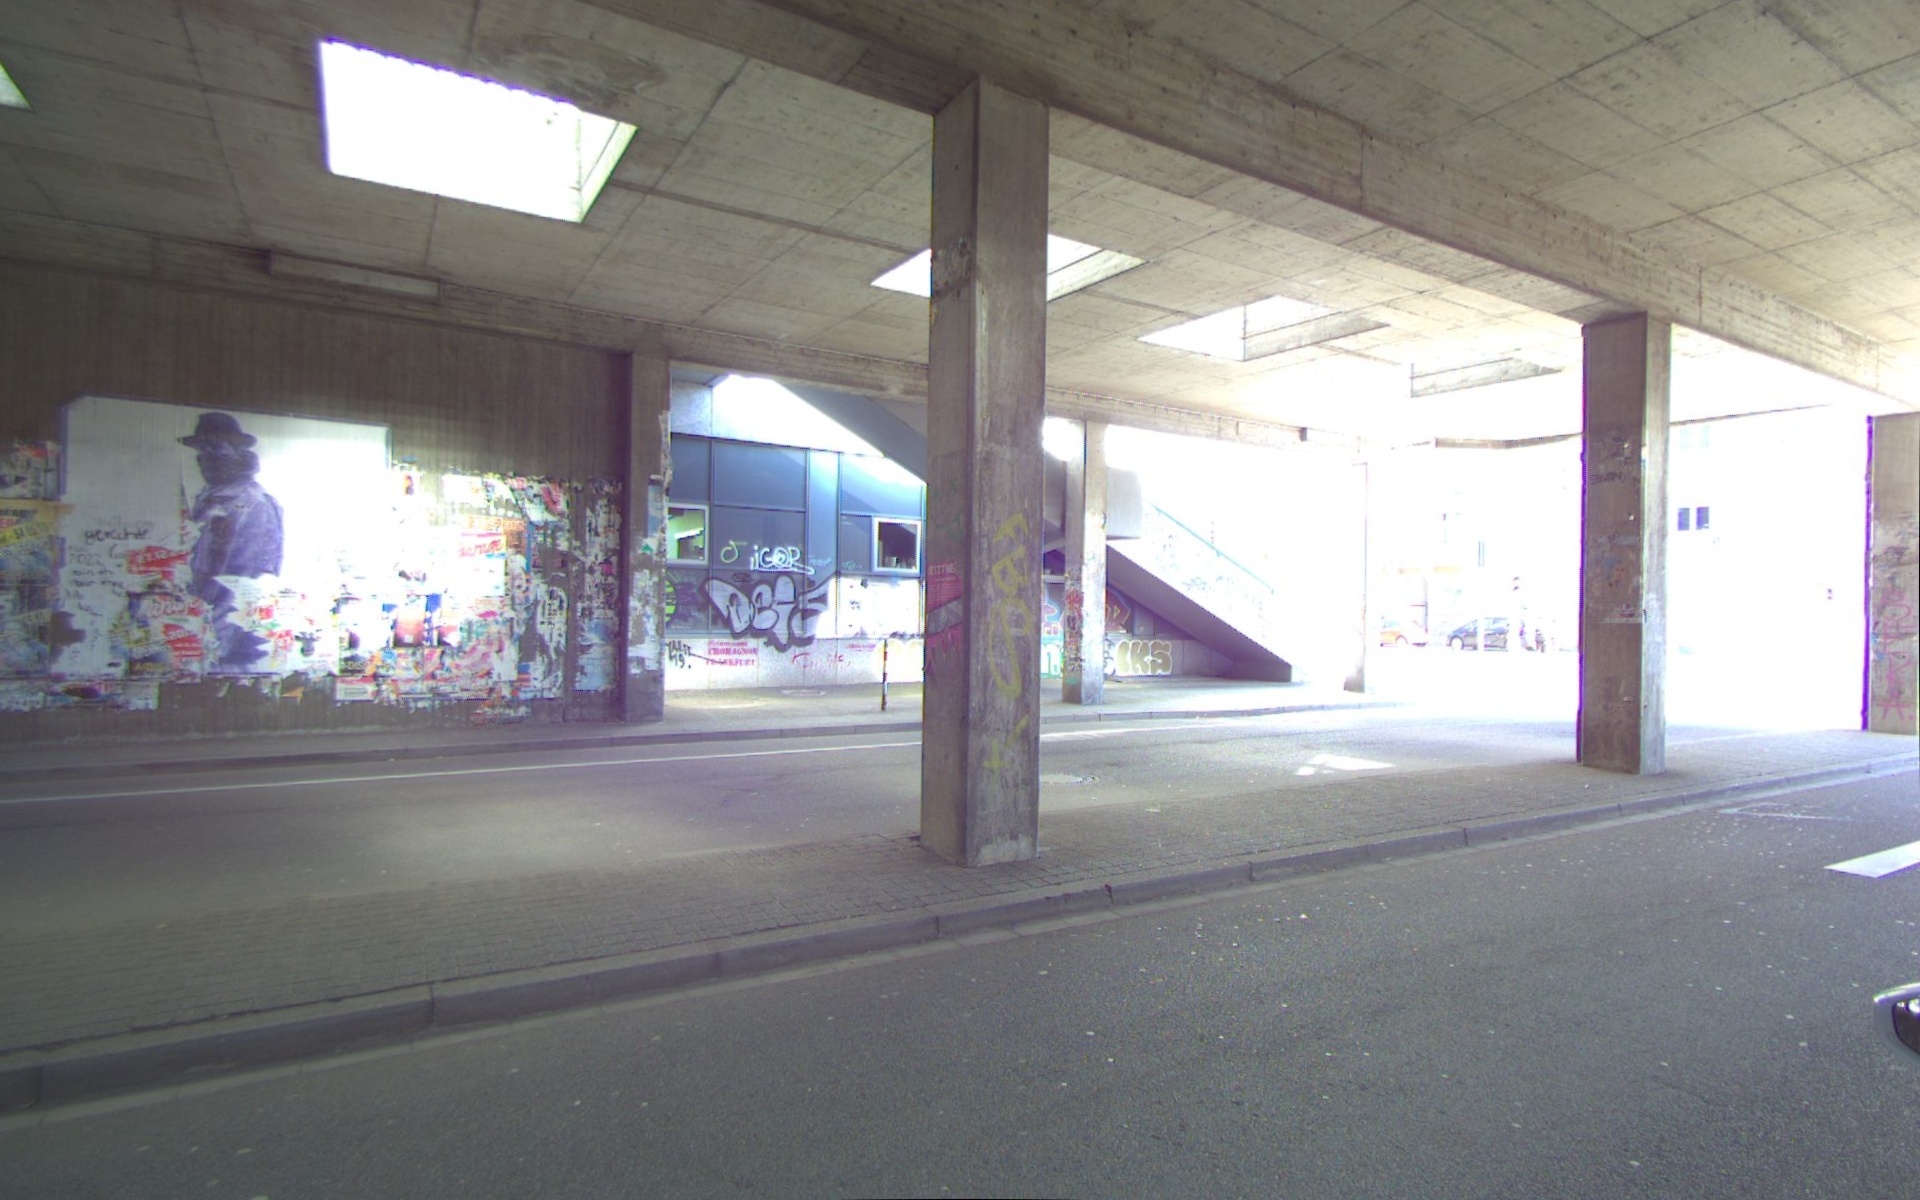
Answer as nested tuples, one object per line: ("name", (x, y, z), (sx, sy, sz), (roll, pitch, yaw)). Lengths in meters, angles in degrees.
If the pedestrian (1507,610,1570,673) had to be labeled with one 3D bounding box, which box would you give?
("pedestrian", (16.743, 1.187, 29.114), (1.123, 1.760, 1.111), (1, -1, -17))
